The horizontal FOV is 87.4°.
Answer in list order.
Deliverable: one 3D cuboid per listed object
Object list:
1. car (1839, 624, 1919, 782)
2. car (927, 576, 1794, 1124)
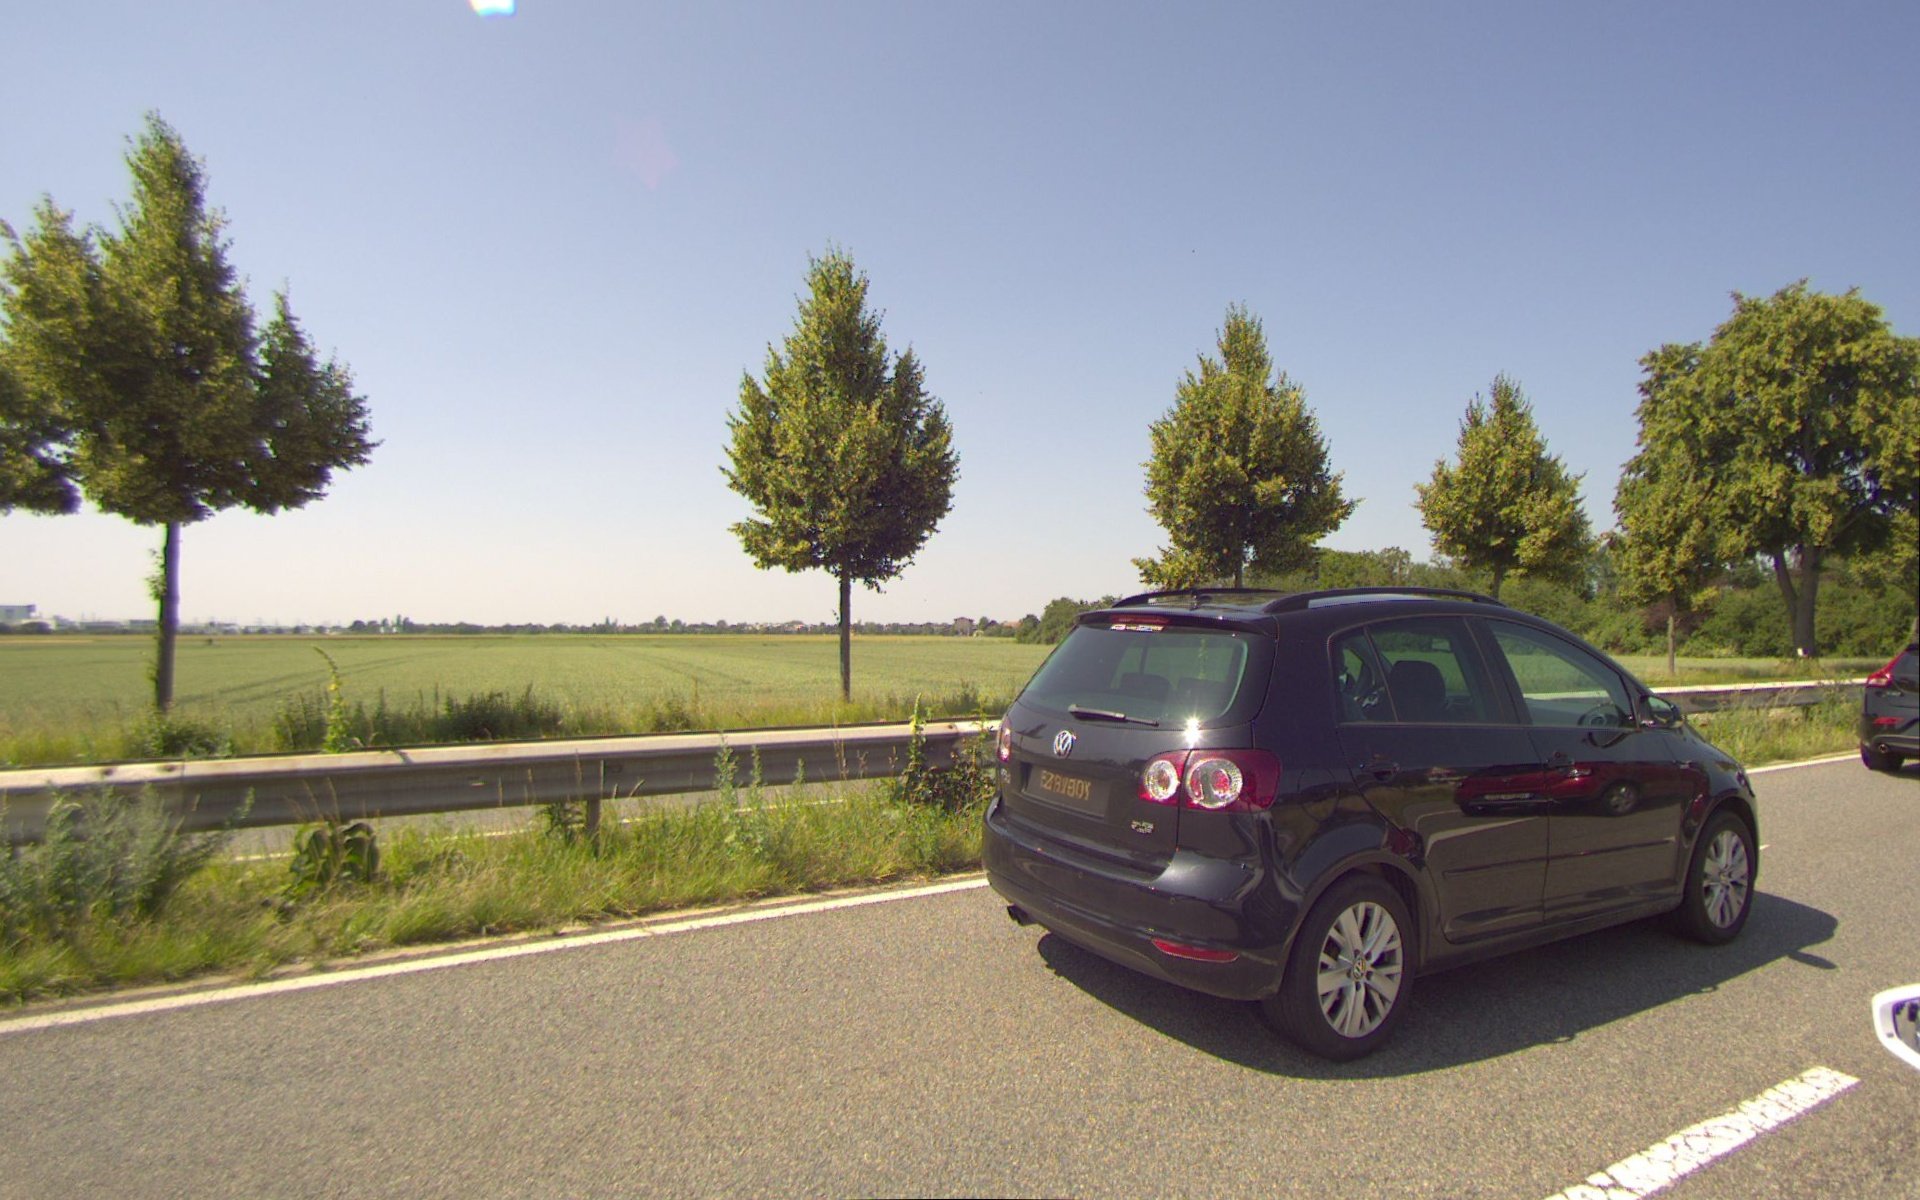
[{"bbox_3d":[10.811,0.998,10.178,3.908,1.461,1.694,1,0,-30],"label":"car"},{"bbox_3d":[1.941,0.756,4.640,3.846,1.597,1.715,1,0,-30],"label":"car"}]
